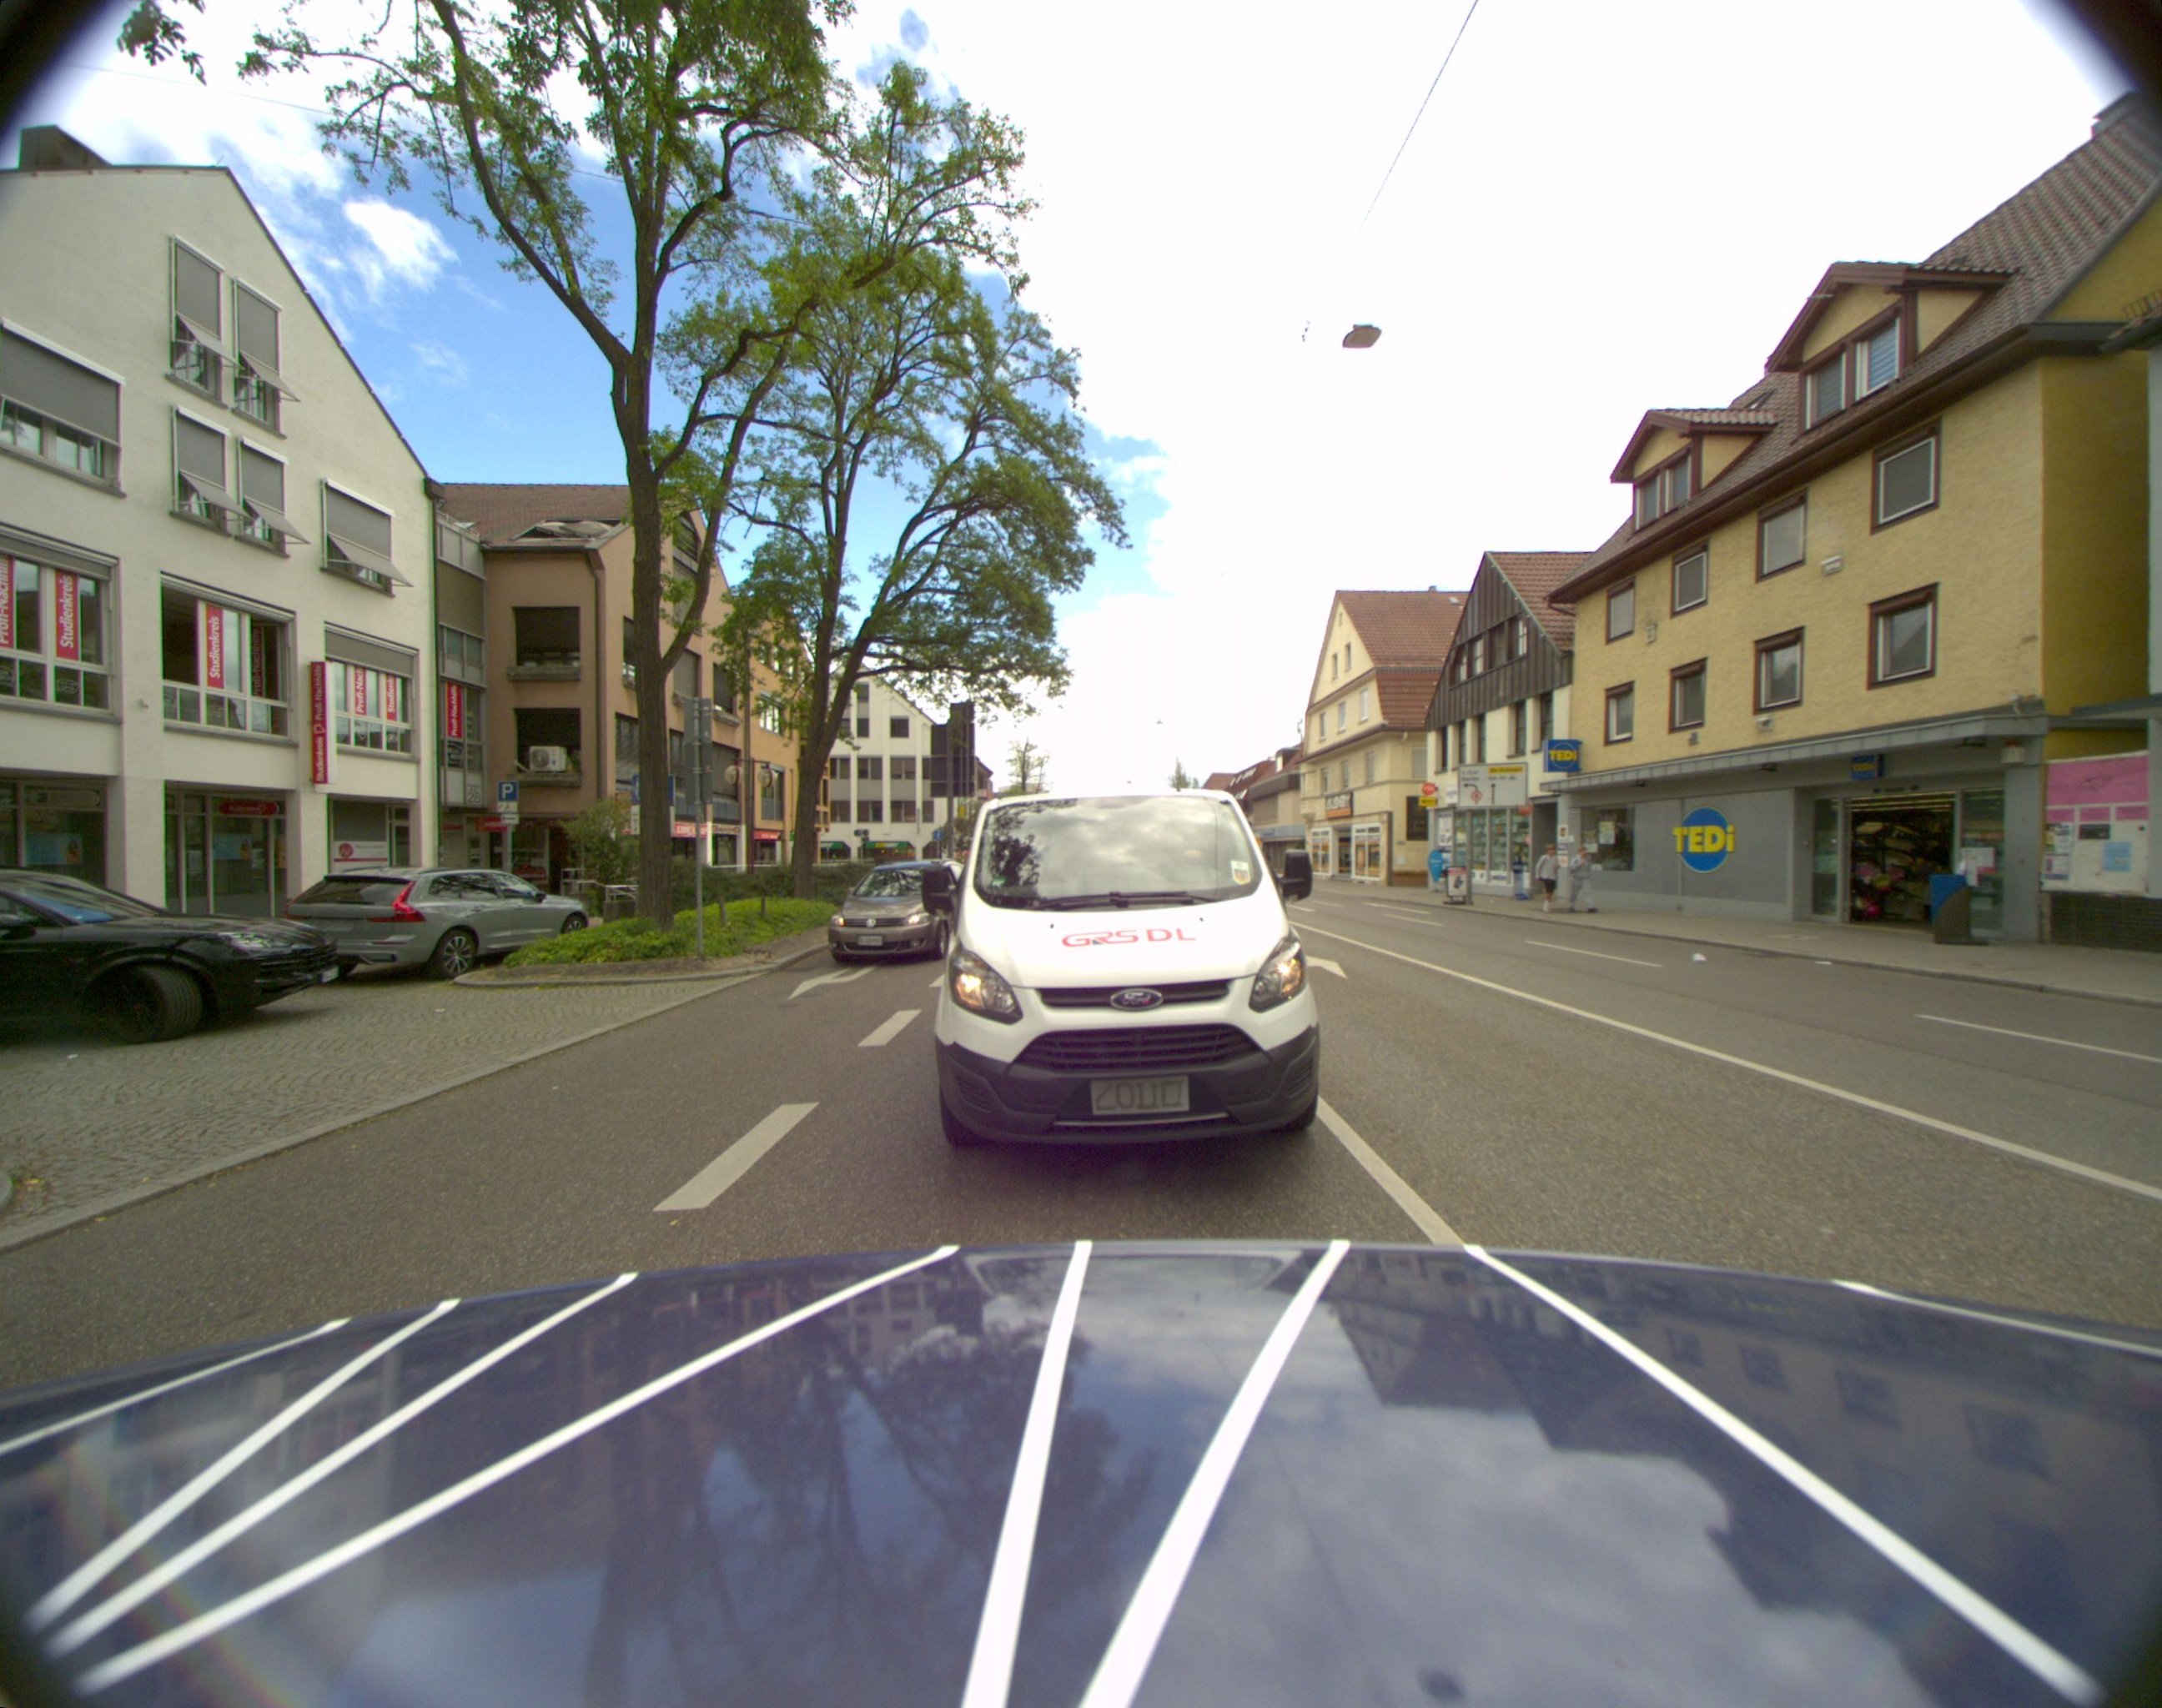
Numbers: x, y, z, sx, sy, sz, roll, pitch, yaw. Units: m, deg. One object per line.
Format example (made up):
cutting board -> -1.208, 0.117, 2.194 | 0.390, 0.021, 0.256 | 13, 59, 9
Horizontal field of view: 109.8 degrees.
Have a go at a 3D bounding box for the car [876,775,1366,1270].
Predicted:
car -> 0.203, 0.696, 6.021 | 1.940, 1.968, 5.779 | -2, 0, 1

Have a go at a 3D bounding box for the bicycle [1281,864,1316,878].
bicycle -> 13.662, 1.087, 47.701 | 2.244, 0.818, 0.772 | -1, 0, -32

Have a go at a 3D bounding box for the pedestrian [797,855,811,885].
pedestrian -> -15.127, 0.868, 41.496 | 0.505, 1.615, 0.493 | -1, 1, -45

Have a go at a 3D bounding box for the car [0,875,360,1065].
car -> -10.571, 1.054, 7.425 | 4.762, 1.669, 1.995 | 1, -1, -31

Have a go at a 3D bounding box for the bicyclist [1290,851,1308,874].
bicyclist -> 13.667, 0.508, 47.697 | 0.753, 1.415, 0.772 | -1, 1, -32

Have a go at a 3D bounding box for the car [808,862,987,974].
car -> -2.923, 0.955, 13.063 | 1.801, 1.521, 4.001 | -2, 0, 4

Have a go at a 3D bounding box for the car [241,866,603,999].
car -> -10.331, 1.099, 12.584 | 1.999, 1.645, 4.752 | 1, 1, -3

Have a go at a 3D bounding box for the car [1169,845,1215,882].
car -> 6.042, 0.488, 41.870 | 1.909, 1.931, 4.526 | -1, 0, 0

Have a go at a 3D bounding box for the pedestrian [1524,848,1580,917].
pedestrian -> 11.575, 0.680, 18.713 | 0.812, 1.651, 0.920 | -1, 1, 1

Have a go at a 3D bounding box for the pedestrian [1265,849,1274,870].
pedestrian -> 17.038, 0.460, 68.798 | 0.673, 1.891, 0.678 | 0, 1, 1

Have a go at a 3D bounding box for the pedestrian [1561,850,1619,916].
pedestrian -> 12.452, 0.699, 18.611 | 0.812, 1.574, 0.920 | -1, 1, 1
